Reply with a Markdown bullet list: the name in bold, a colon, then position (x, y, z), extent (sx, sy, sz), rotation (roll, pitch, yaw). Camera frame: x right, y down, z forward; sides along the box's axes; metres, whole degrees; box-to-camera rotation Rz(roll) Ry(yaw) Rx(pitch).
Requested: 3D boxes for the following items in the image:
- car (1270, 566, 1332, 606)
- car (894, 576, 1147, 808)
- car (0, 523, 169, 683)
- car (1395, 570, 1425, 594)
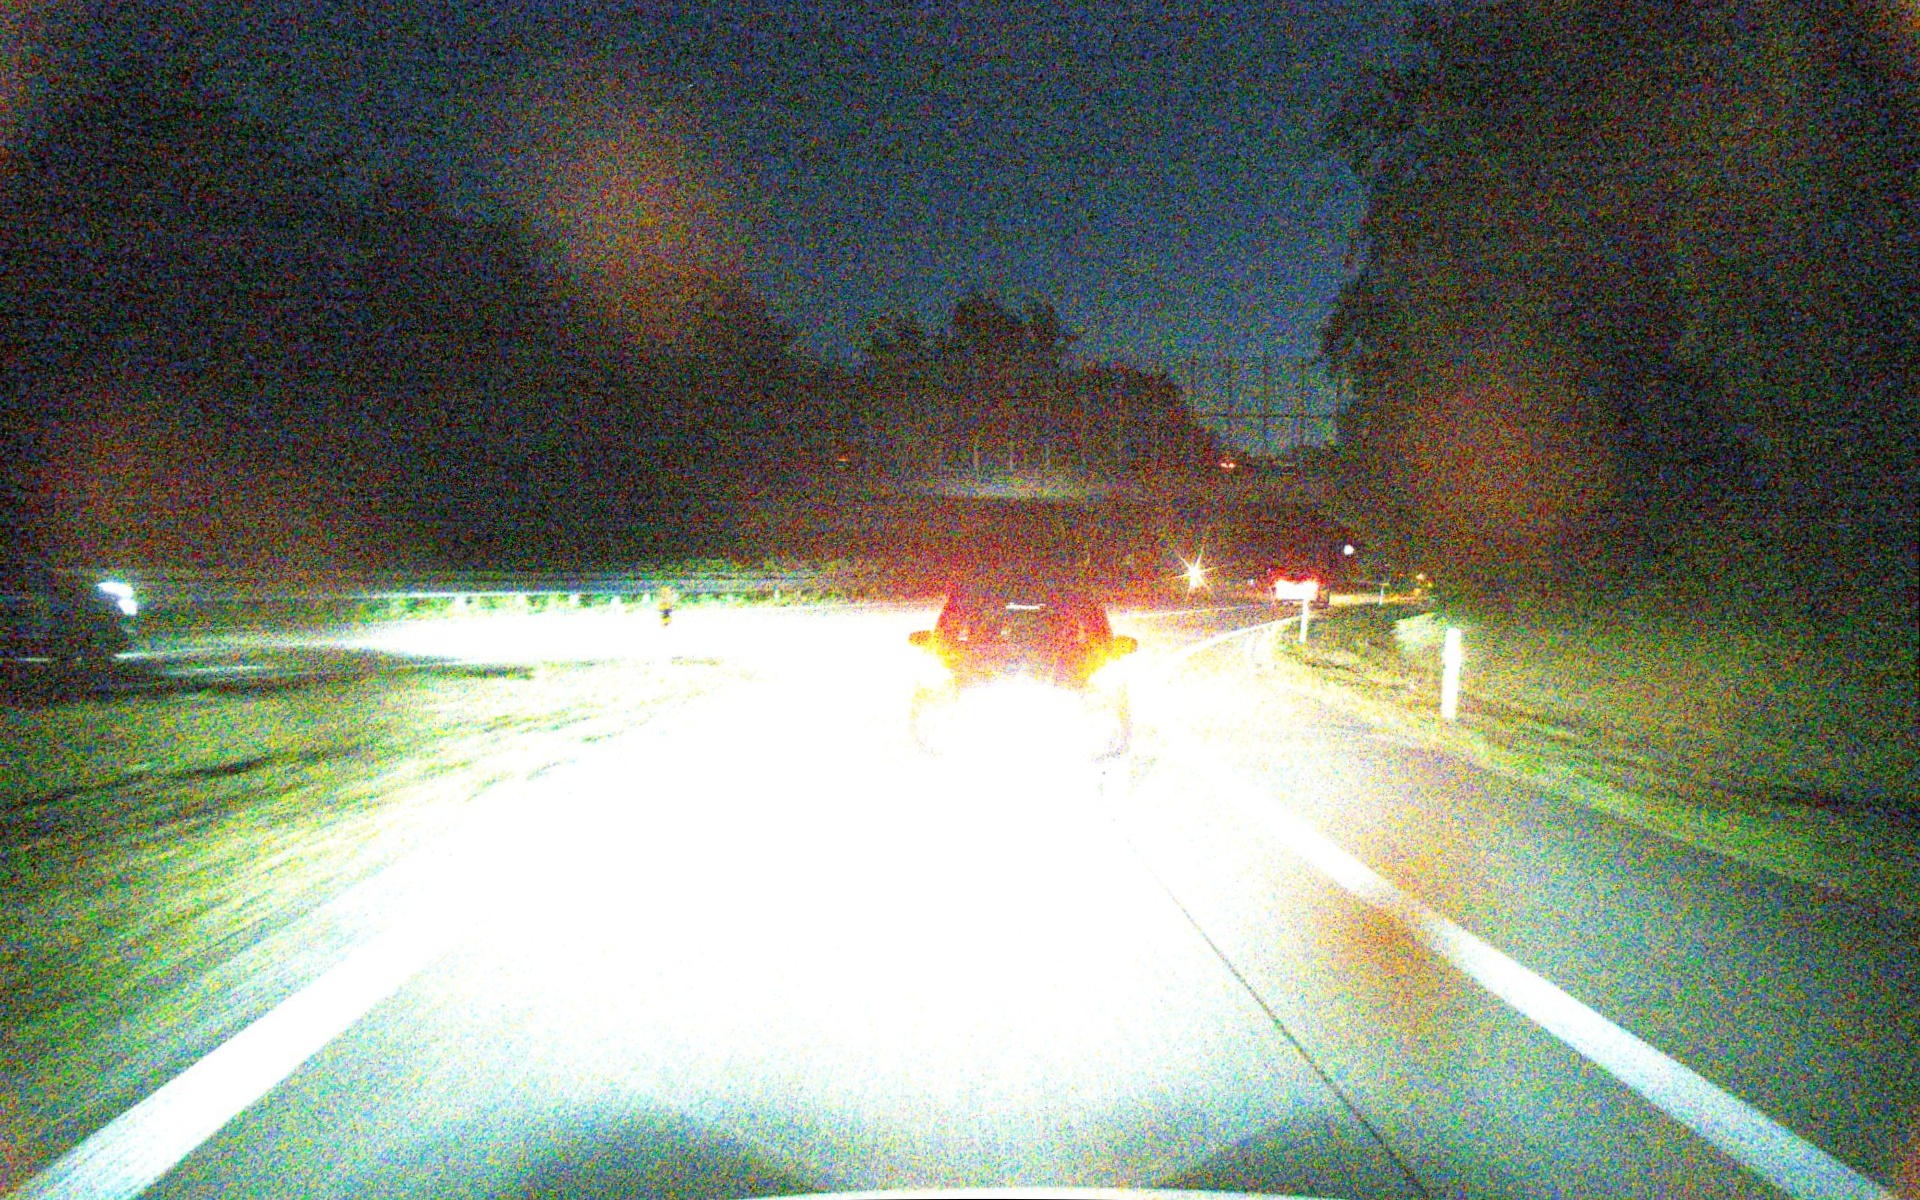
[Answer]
- **car**: position (14.247, -0.547, 68.936), extent (1.911, 1.565, 4.242), rotation (-2, -1, 20)
- **car**: position (0.461, 0.598, 13.180), extent (1.656, 1.503, 4.001), rotation (2, 1, 1)
- **car**: position (-10.758, -0.001, 17.006), extent (1.901, 1.636, 4.643), rotation (2, 1, 22)
- **car**: position (33.258, -1.364, 122.305), extent (1.698, 1.646, 3.799), rotation (3, 2, 21)
